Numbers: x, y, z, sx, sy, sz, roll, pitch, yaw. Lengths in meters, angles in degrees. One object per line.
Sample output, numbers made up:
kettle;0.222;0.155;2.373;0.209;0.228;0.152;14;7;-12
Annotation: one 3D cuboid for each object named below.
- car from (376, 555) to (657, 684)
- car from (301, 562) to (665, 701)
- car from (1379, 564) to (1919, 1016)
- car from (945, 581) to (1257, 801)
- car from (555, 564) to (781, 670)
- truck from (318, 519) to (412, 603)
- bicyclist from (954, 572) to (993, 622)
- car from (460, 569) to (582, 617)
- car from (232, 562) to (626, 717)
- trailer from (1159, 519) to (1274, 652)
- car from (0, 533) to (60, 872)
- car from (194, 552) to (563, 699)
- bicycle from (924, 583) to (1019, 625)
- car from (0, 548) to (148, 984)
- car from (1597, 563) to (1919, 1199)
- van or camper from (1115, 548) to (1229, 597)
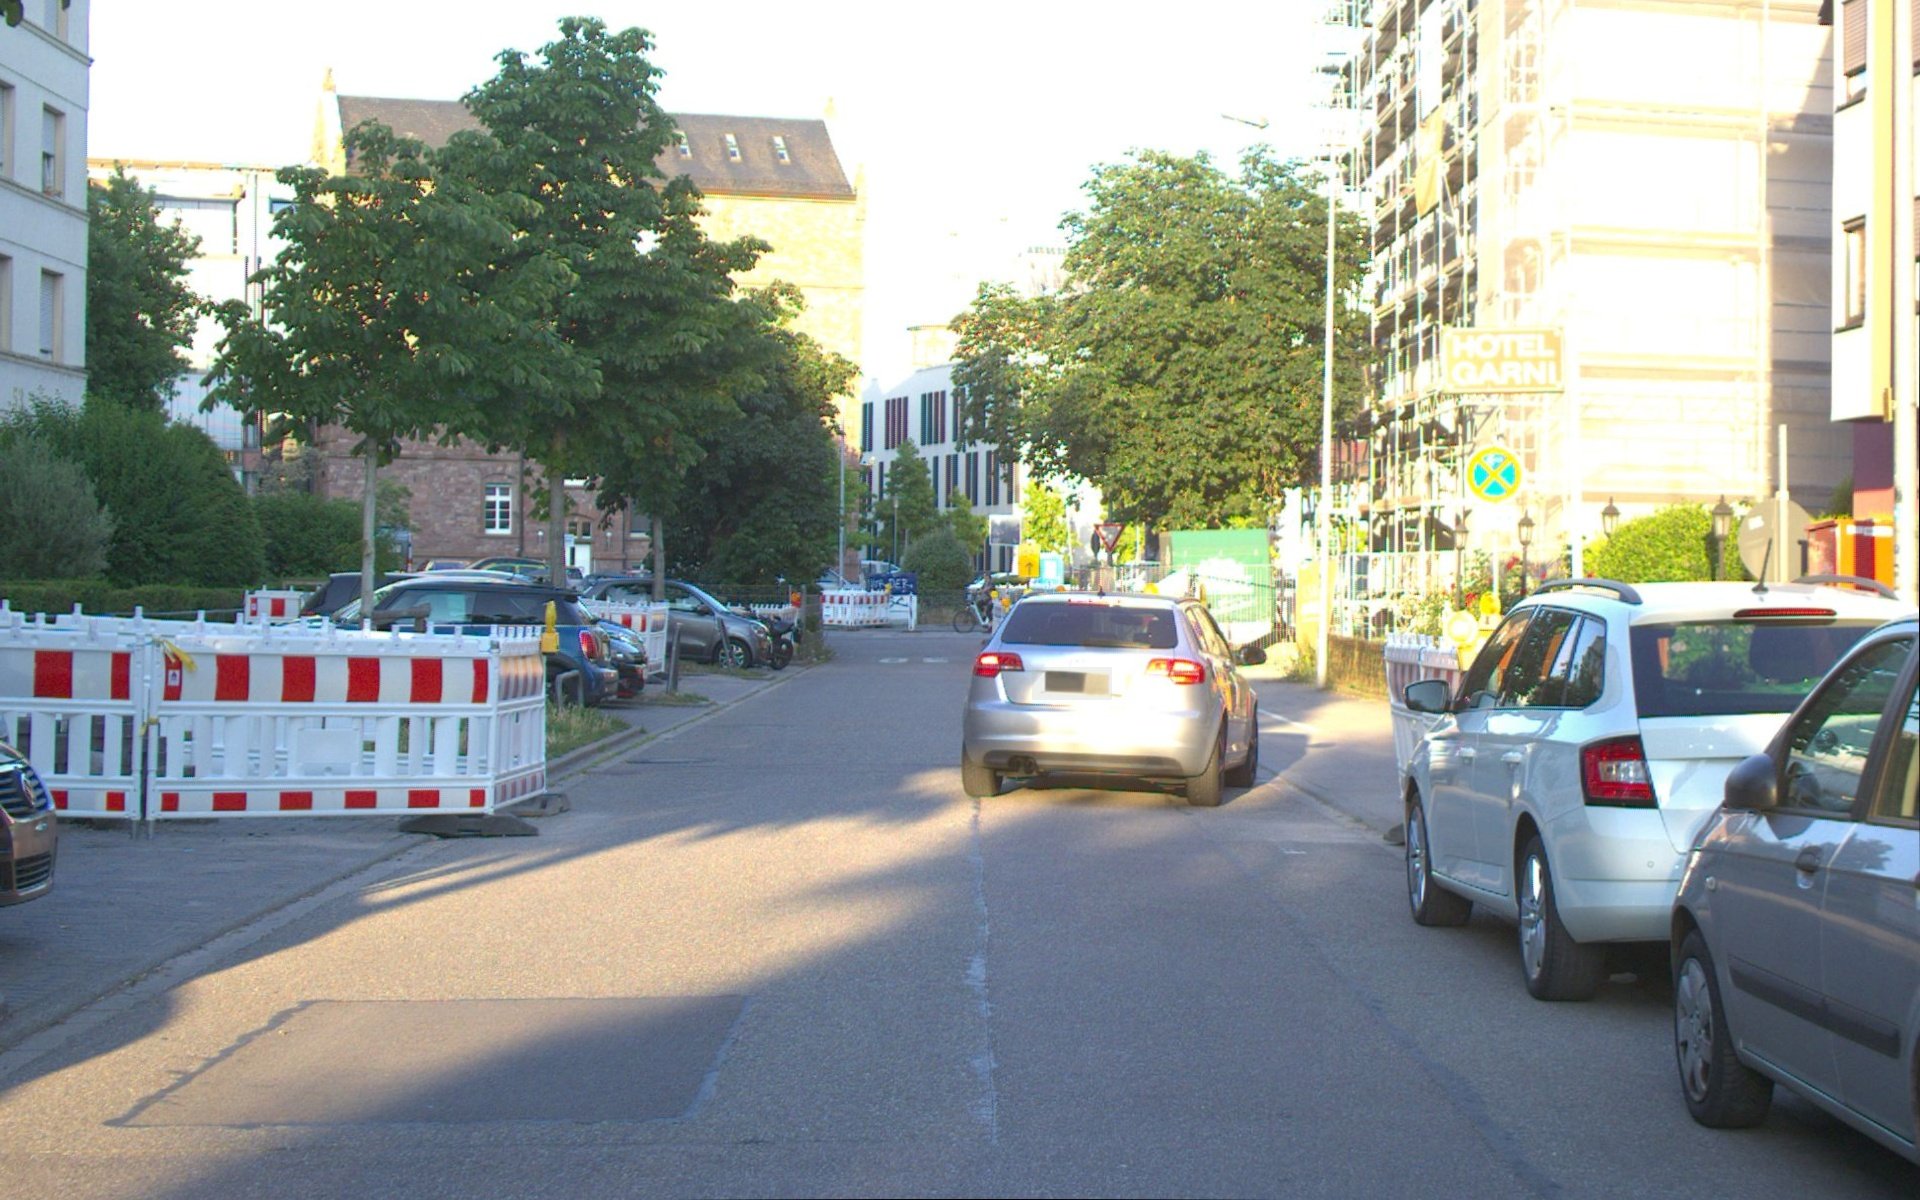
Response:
car;-5.773;0.260;45.016;3.474;1.561;1.728;2;-1;-3
car;-5.607;0.376;40.711;3.978;1.484;1.728;2;-1;2
car;2.738;0.608;13.206;1.614;1.464;3.997;1;0;-2
car;1.079;0.569;24.189;1.776;1.392;4.106;1;0;8
car;-4.954;0.285;58.616;3.623;1.551;1.693;3;0;0
truck;-18.928;-1.242;109.220;2.333;2.608;4.974;0;1;-17
bicyclist;0.400;-0.091;101.643;1.060;1.453;0.791;0;0;-7
car;-13.925;-0.226;108.952;3.630;1.498;1.638;0;1;-16
car;-5.387;0.402;35.180;3.677;1.440;1.728;2;-1;2
trailer;5.049;-0.297;68.136;1.993;2.531;4.186;0;1;1
car;-6.015;0.380;14.901;3.700;1.479;1.728;2;0;2
car;-6.353;0.285;37.824;3.677;1.479;1.728;2;-1;2
bicycle;0.337;0.111;101.666;2.723;1.214;0.711;0;0;-7
car;-5.462;0.480;12.567;4.507;1.479;1.728;2;0;2
car;2.827;0.658;8.267;1.797;1.464;3.844;1;0;-1
van or camper;9.658;-1.250;156.672;4.961;2.233;1.687;0;0;-21
